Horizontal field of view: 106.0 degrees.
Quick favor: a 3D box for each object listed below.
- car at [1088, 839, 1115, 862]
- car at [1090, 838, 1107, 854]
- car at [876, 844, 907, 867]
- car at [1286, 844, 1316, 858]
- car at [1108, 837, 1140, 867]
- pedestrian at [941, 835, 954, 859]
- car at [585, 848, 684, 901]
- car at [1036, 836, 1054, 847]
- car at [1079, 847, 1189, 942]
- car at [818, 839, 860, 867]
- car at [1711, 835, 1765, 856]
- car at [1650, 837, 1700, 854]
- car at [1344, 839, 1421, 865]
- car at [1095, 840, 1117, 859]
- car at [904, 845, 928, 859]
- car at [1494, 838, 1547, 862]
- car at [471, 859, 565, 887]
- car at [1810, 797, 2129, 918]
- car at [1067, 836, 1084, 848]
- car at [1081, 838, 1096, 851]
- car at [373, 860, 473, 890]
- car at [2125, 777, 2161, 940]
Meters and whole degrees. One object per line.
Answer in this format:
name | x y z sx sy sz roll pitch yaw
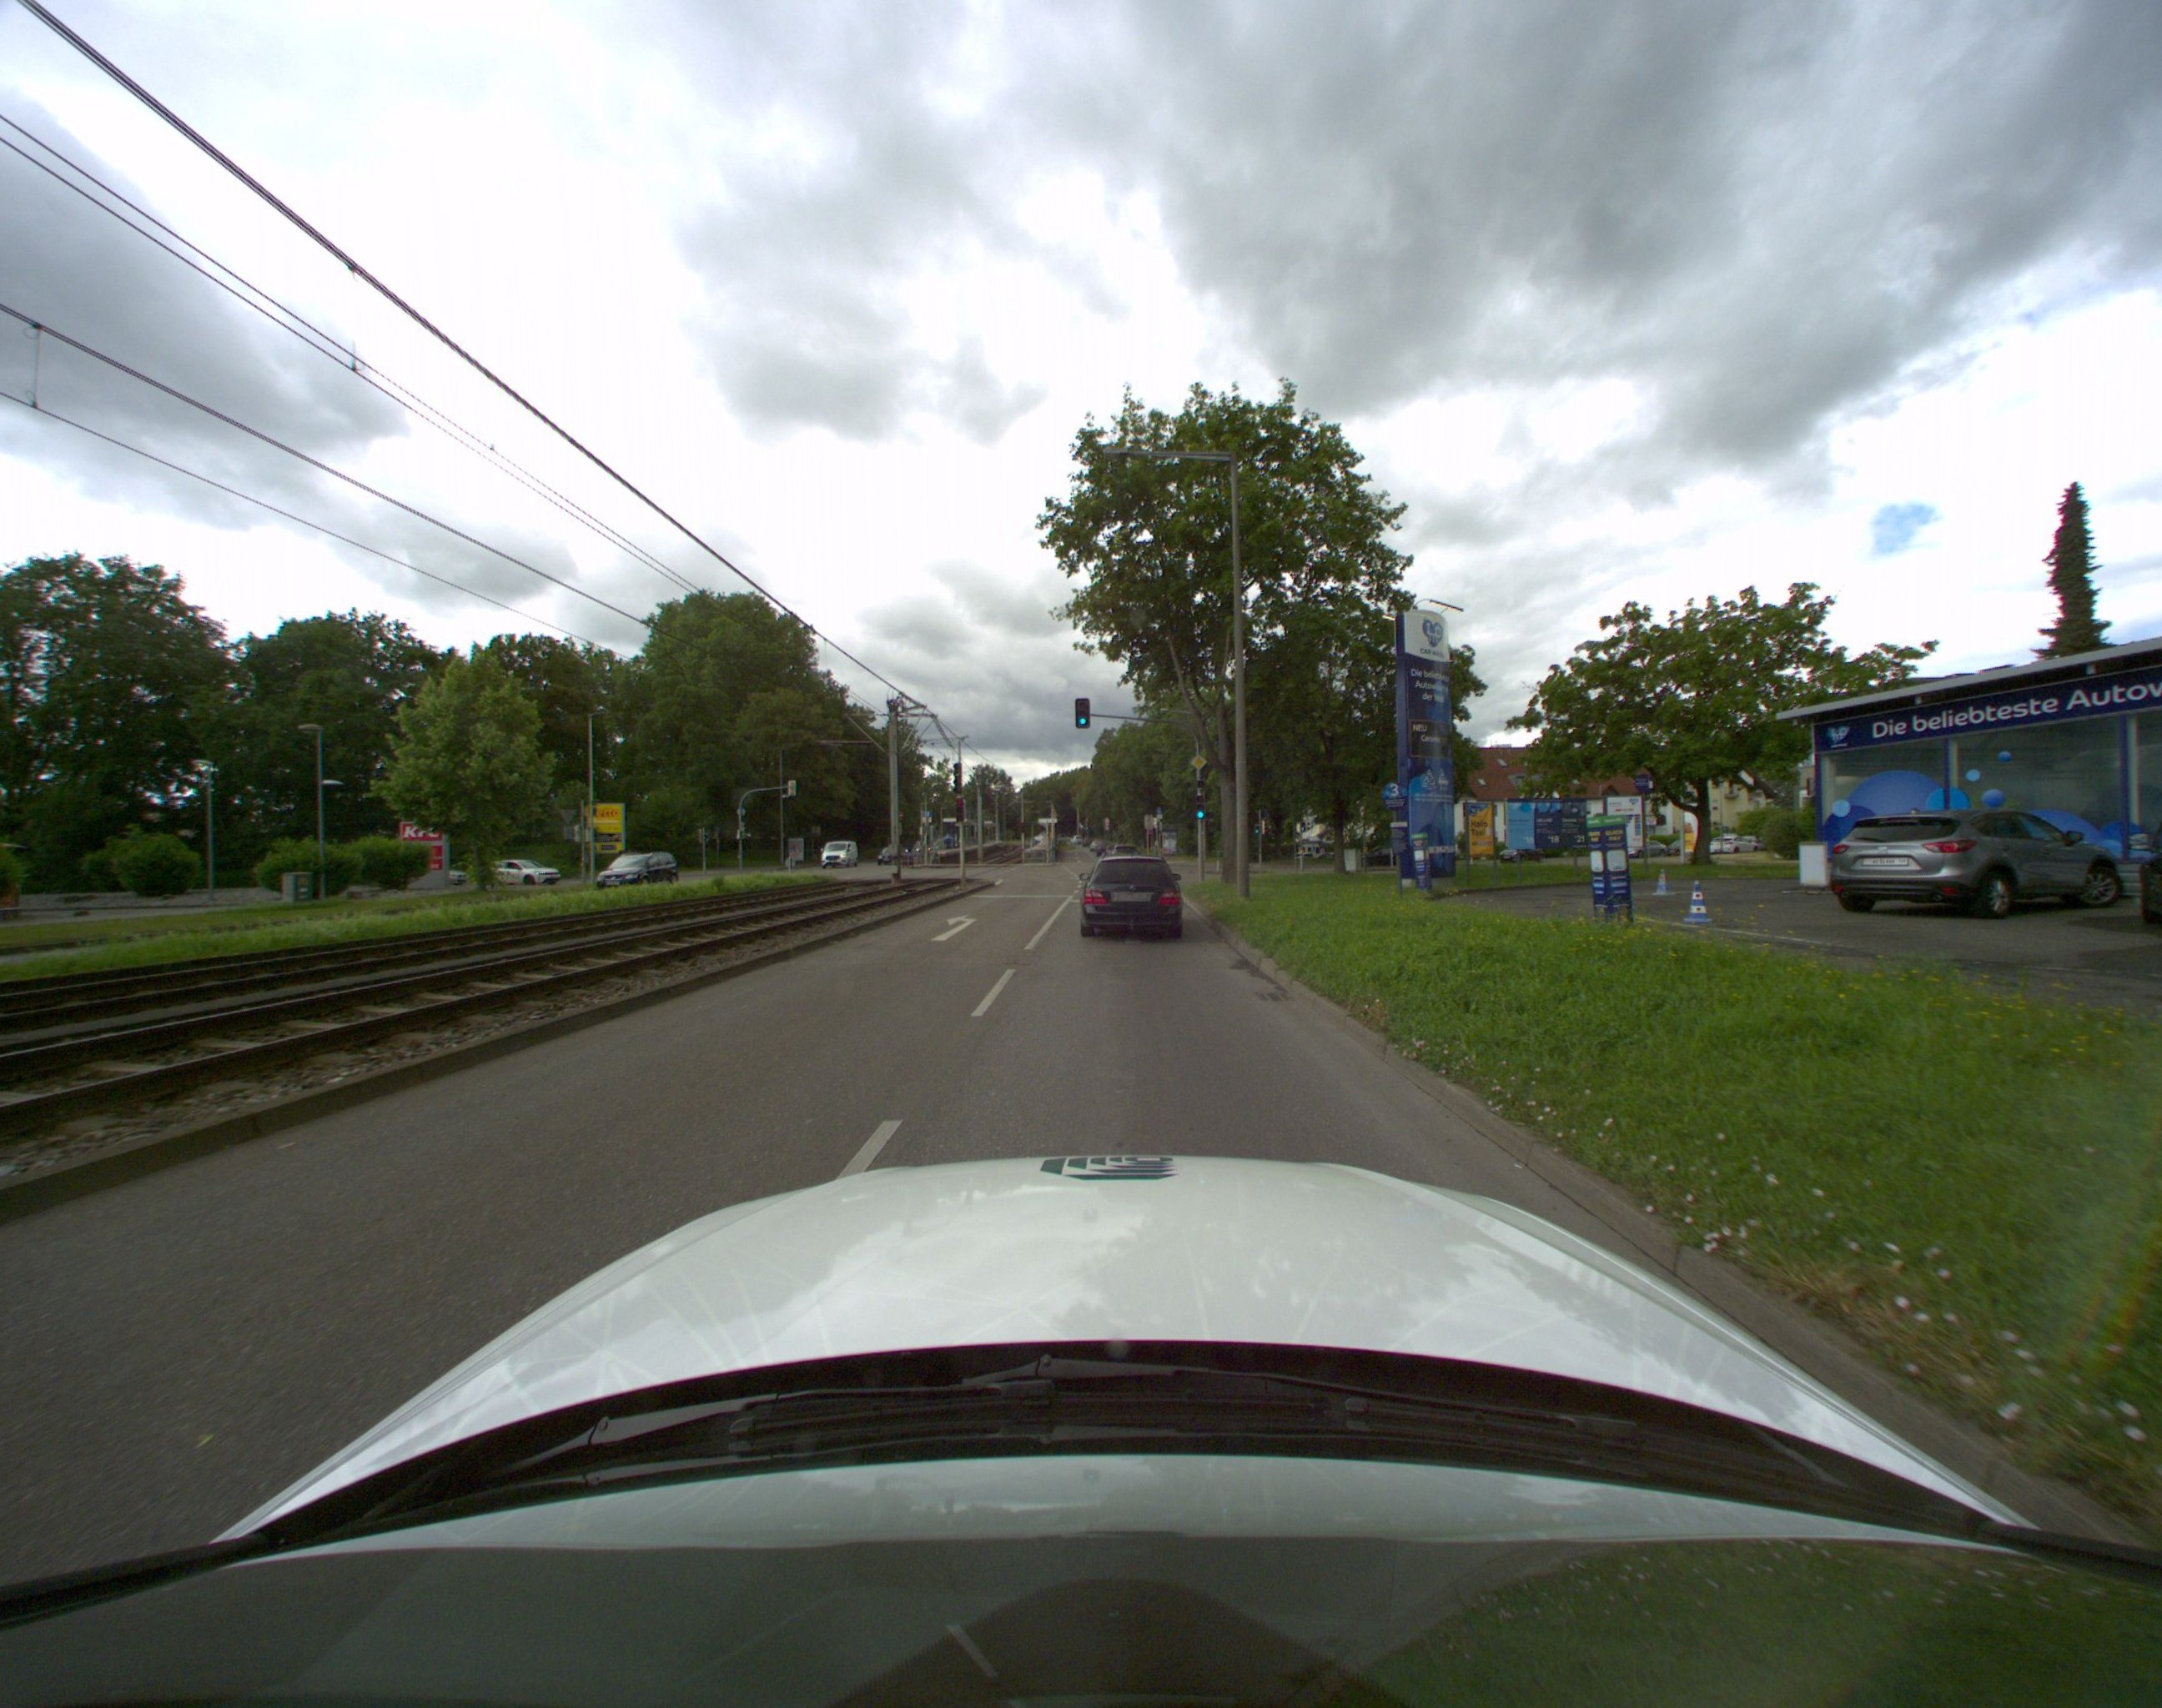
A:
car | 1.609 -0.238 62.718 1.774 1.648 4.005 1 0 4
car | 2.254 -1.028 104.751 1.988 1.893 3.997 1 0 -2
car | -15.566 0.119 66.965 1.692 1.860 3.997 1 0 -2
car | 22.519 -0.296 83.523 1.479 1.386 3.825 1 0 -11
car | 2.575 -0.102 47.988 1.774 1.648 4.005 1 0 4
pedestrian | -12.382 -0.669 75.572 0.966 2.186 0.976 -1 0 0
car | -18.661 0.807 34.267 1.989 2.013 4.103 -1 0 -3
car | -6.915 -2.408 155.248 2.003 2.013 3.968 1 0 -25
car | 0.875 0.663 15.336 1.776 1.525 4.000 1 0 0
car | -18.506 -0.069 62.531 1.990 2.013 4.878 -2 0 -4
car | 50.552 -0.664 62.662 4.012 1.517 1.981 -1 1 -30
car | 52.462 -0.735 71.923 4.482 1.426 1.981 1 0 -30
car | 18.542 -0.100 50.182 4.130 1.526 1.708 -1 0 6
car | 2.559 -0.460 83.440 1.988 1.918 3.997 1 0 -2
car | -19.661 -0.222 97.219 1.989 1.481 4.503 4 1 -2
car | 33.626 -0.287 62.225 4.016 1.765 1.979 1 0 -35
car | -31.163 1.048 45.144 3.867 1.408 1.846 -2 0 -1
car | 14.323 0.004 13.175 4.208 1.697 1.830 -2 1 -17
car | -0.955 -2.102 142.618 1.997 2.013 3.980 1 0 -15
car | 1.123 -1.488 125.614 1.988 1.966 3.997 1 0 -2
car | -36.916 1.169 45.757 3.975 1.552 1.846 -2 0 -1
car | 13.697 0.016 9.390 4.408 1.821 1.730 -2 0 -41
